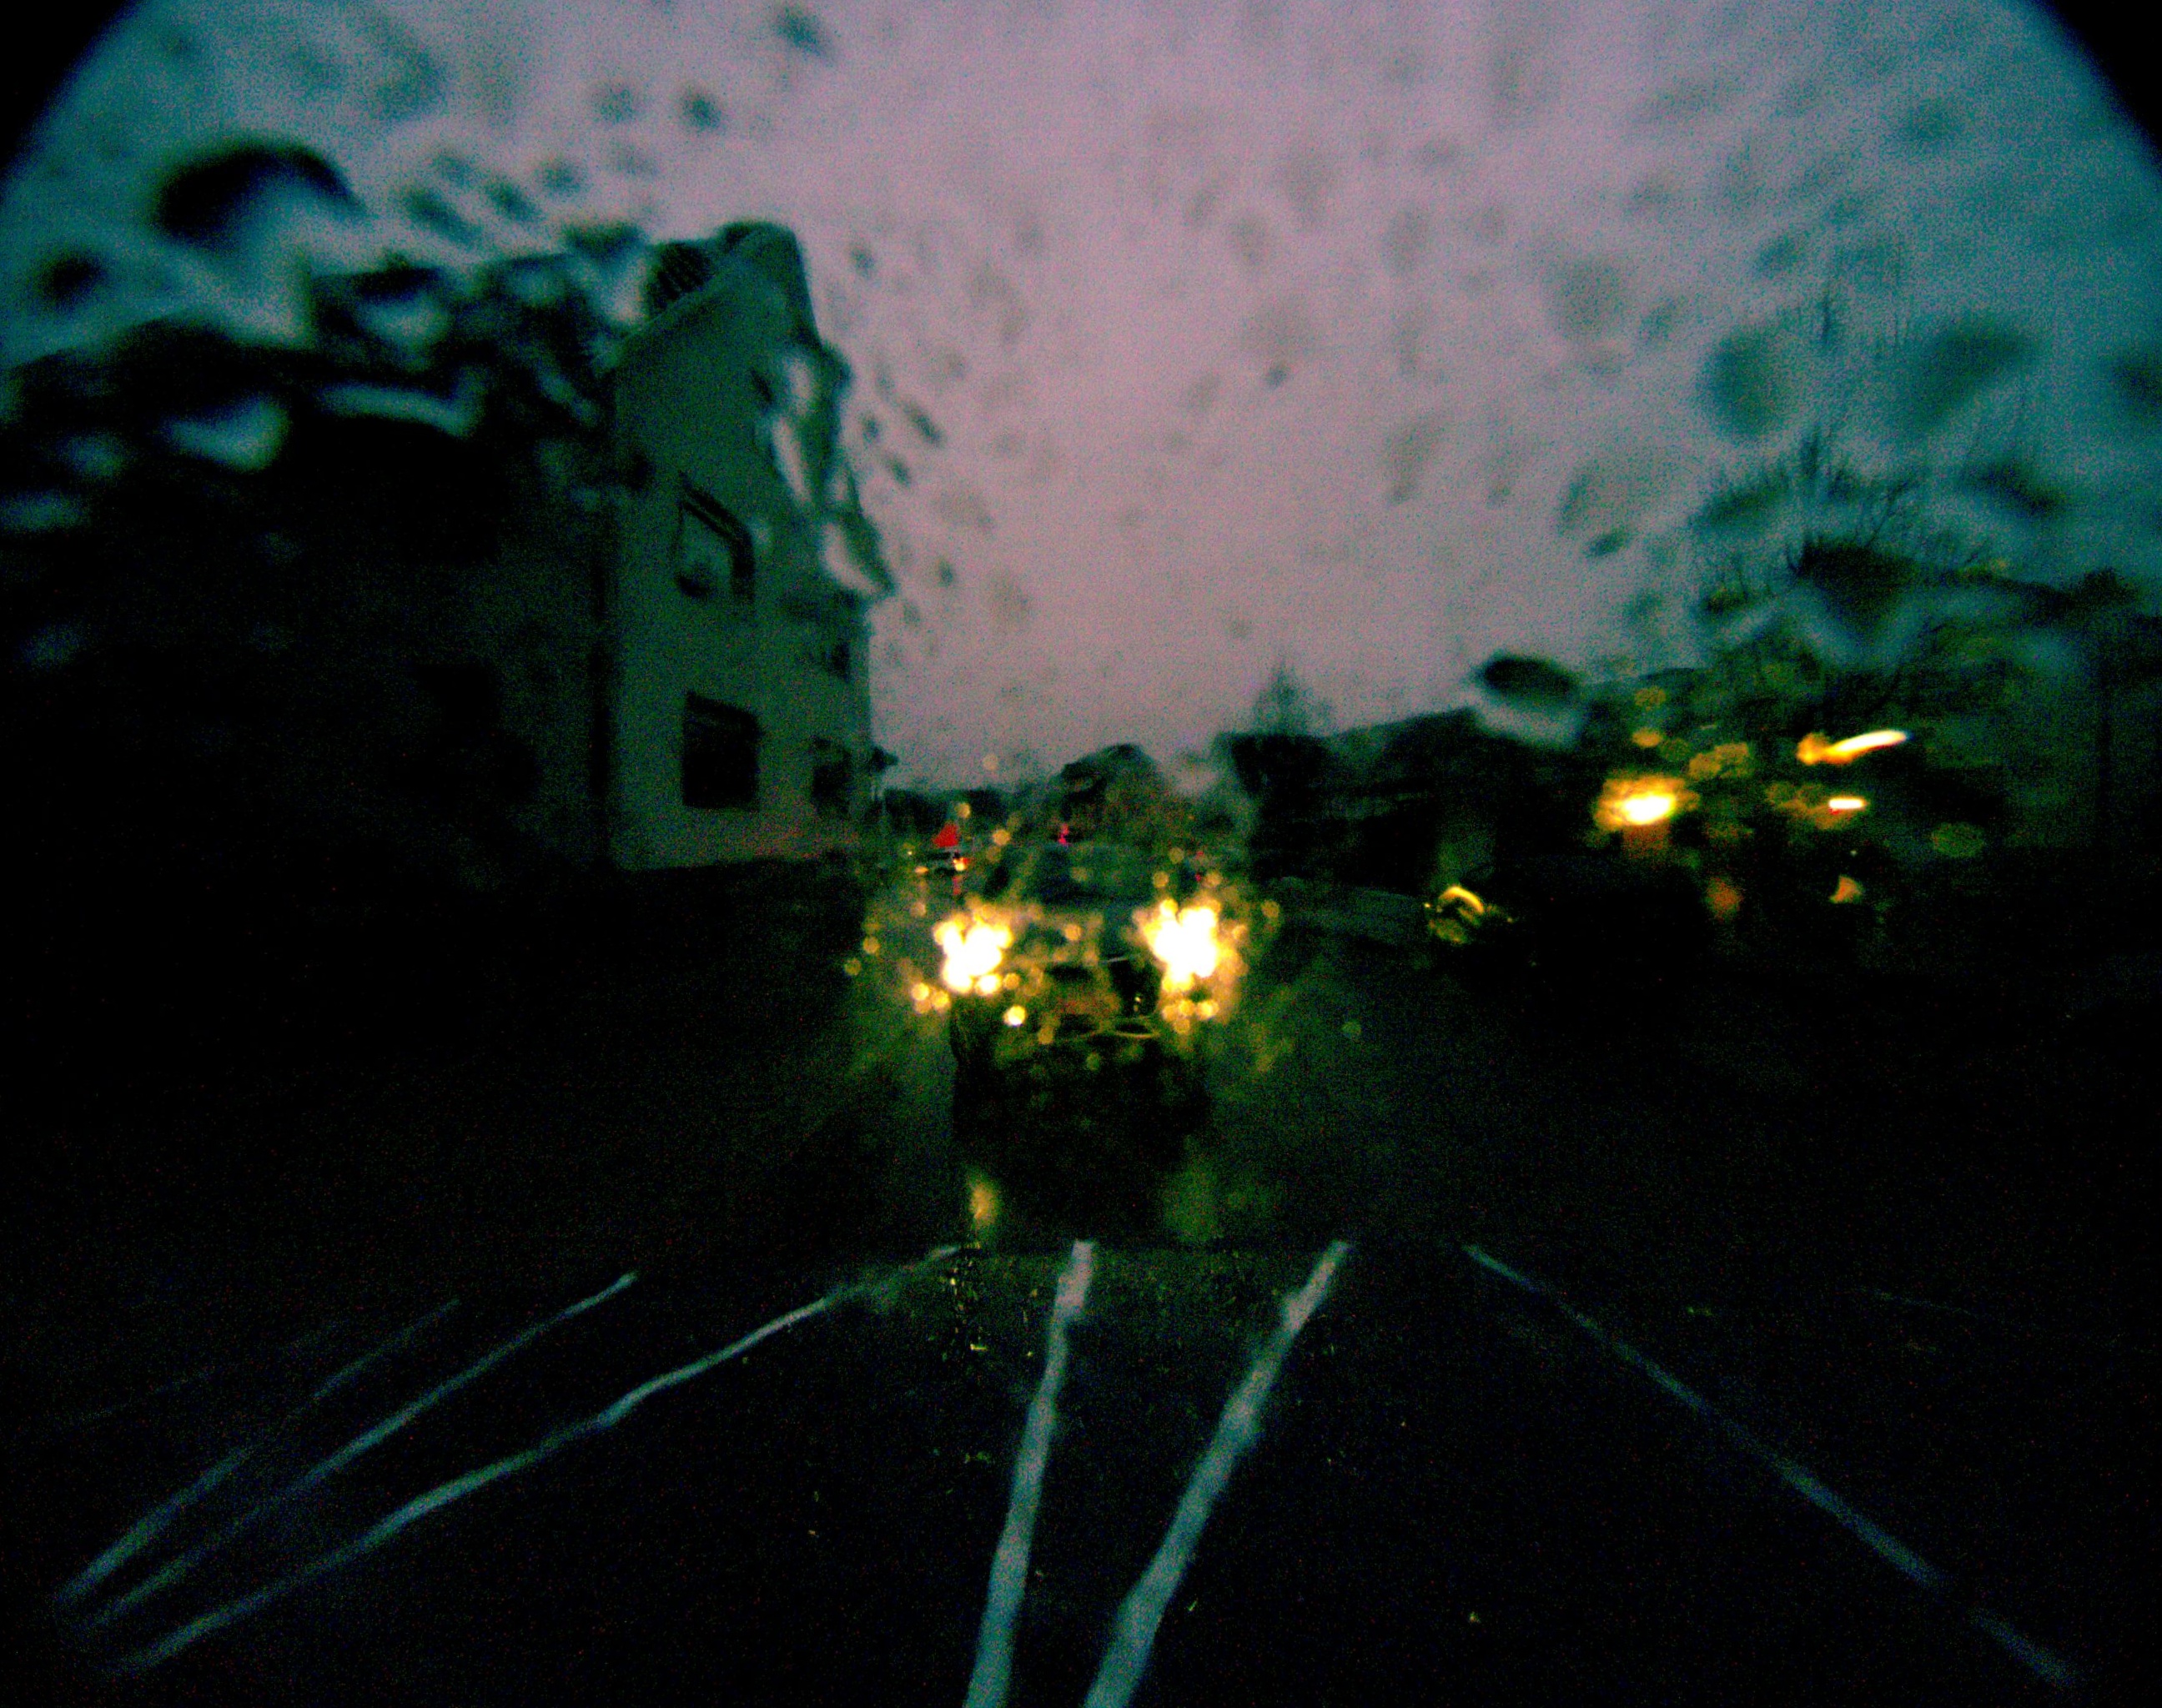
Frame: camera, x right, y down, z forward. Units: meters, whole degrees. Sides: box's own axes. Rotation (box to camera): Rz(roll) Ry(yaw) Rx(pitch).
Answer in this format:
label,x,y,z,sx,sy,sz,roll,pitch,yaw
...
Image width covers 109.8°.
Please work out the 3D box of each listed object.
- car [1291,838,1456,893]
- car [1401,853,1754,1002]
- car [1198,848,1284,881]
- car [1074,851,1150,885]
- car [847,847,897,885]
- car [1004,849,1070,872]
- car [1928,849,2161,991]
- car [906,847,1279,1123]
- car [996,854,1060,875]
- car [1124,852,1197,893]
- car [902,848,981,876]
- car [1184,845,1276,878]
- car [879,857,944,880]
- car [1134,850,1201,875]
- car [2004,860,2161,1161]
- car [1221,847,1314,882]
label,x,y,z,sx,sy,sz,roll,pitch,yaw
car,10.400,0.374,27.494,5.387,1.874,2.076,0,0,16
car,6.170,0.773,10.226,1.751,1.464,4.457,-2,1,-1
car,7.868,0.495,37.666,4.107,1.573,1.722,0,1,9
car,1.451,0.648,37.307,1.913,1.525,4.247,-2,0,-26
car,-11.580,0.662,41.950,1.982,1.948,4.842,-1,0,-23
car,-3.323,0.442,57.354,4.456,1.623,2.150,-1,1,-29
car,12.486,0.691,8.215,4.078,1.468,1.742,0,0,23
car,-0.037,0.778,7.208,2.270,1.633,5.064,-1,1,-3
car,-4.302,0.843,61.287,4.775,1.626,1.997,1,-1,-21
car,3.171,0.698,31.005,1.840,1.527,3.671,-2,1,-13
car,-10.920,0.622,59.843,5.774,1.934,1.991,-2,0,2
car,7.880,0.389,40.468,4.649,1.644,1.989,0,1,9
car,-12.014,1.013,53.996,4.107,1.496,1.891,-1,1,10
car,5.334,0.536,47.178,4.069,1.451,1.758,-1,1,4
car,6.454,0.808,2.699,1.697,1.507,3.772,-2,1,-2
car,8.529,0.473,34.827,3.993,1.521,2.002,-1,0,13
